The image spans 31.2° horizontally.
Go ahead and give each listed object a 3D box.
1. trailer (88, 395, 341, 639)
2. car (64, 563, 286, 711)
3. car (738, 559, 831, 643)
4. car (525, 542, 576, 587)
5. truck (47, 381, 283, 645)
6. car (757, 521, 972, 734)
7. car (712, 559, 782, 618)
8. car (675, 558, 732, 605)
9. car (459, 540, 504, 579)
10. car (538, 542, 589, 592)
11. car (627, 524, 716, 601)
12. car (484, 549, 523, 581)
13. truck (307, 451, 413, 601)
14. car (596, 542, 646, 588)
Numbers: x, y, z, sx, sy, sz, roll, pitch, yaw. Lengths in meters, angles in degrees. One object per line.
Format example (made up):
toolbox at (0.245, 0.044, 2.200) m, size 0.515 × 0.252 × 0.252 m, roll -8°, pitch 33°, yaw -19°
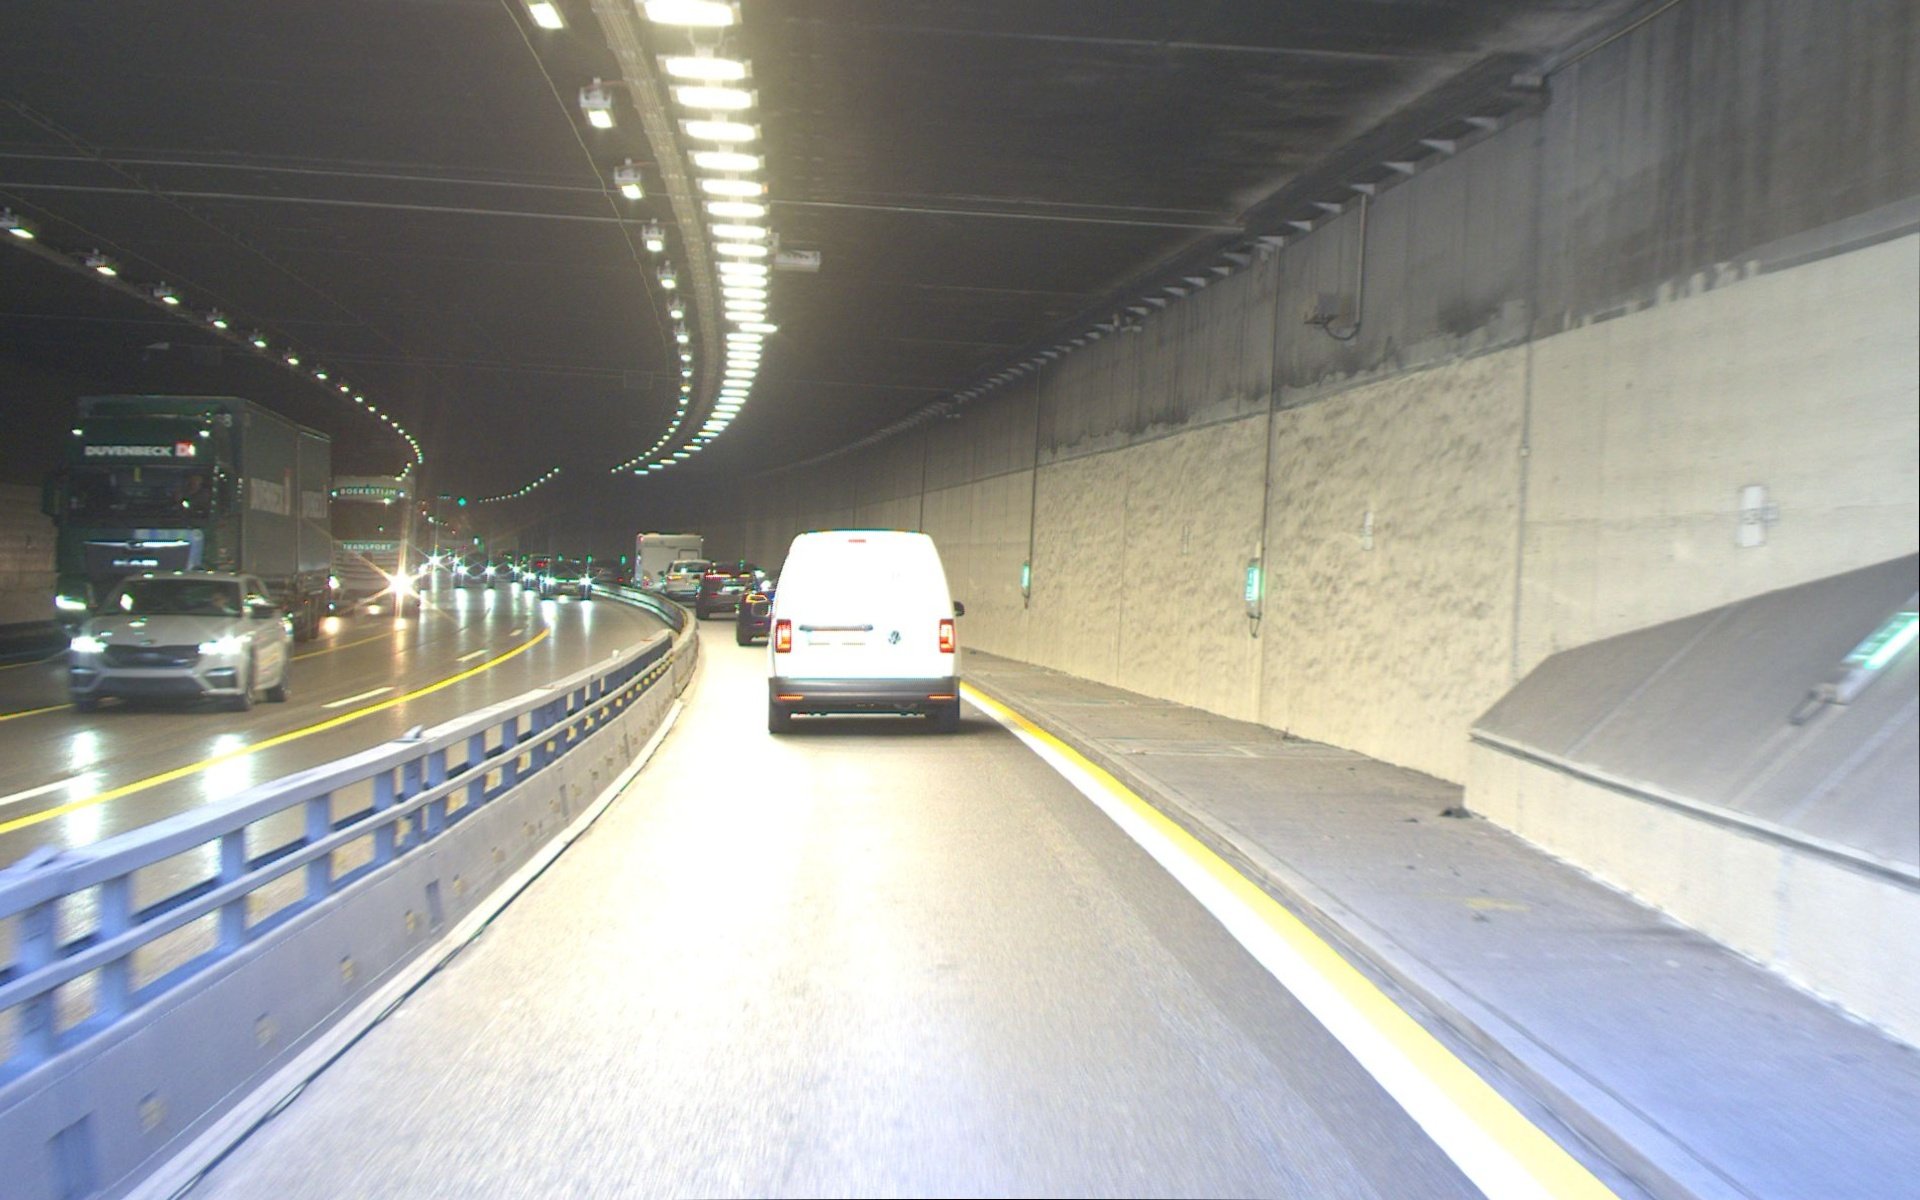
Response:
trailer at (-13.319, -1.411, 62.729) m, size 2.812 × 3.888 × 15.463 m, roll 0°, pitch 1°, yaw -6°
car at (-8.170, 0.346, 36.076) m, size 1.821 × 1.451 × 4.094 m, roll 0°, pitch 1°, yaw -7°
car at (-3.367, 0.001, 65.466) m, size 1.598 × 1.541 × 3.678 m, roll 0°, pitch 1°, yaw -6°
car at (-18.812, -1.652, 157.762) m, size 1.926 × 1.842 × 4.362 m, roll -1°, pitch 3°, yaw -12°
truck at (-12.452, -1.323, 54.366) m, size 2.810 × 3.902 × 6.457 m, roll 0°, pitch 1°, yaw -6°
car at (-0.844, 0.243, 31.961) m, size 1.808 × 1.788 × 3.731 m, roll 2°, pitch 0°, yaw 0°
car at (-5.735, -0.333, 92.246) m, size 1.598 × 1.541 × 3.678 m, roll 0°, pitch 1°, yaw -7°
car at (-8.546, -0.622, 114.276) m, size 1.598 × 1.541 × 3.678 m, roll 0°, pitch 1°, yaw -9°
car at (-22.471, -1.909, 161.213) m, size 1.808 × 1.801 × 5.069 m, roll 0°, pitch 1°, yaw -11°
car at (-15.109, -1.254, 130.844) m, size 1.808 × 1.848 × 5.068 m, roll 0°, pitch 1°, yaw -8°
car at (-11.102, -1.431, 131.606) m, size 2.813 × 2.764 × 7.103 m, roll -3°, pitch 1°, yaw -9°
car at (-25.076, -1.908, 188.786) m, size 1.808 × 1.712 × 5.069 m, roll 0°, pitch 1°, yaw -11°
truck at (-17.092, -2.080, 98.226) m, size 2.659 × 4.129 × 5.356 m, roll 0°, pitch 1°, yaw -7°
car at (-16.549, -1.711, 167.634) m, size 2.034 × 2.014 × 4.632 m, roll 5°, pitch 0°, yaw -9°
